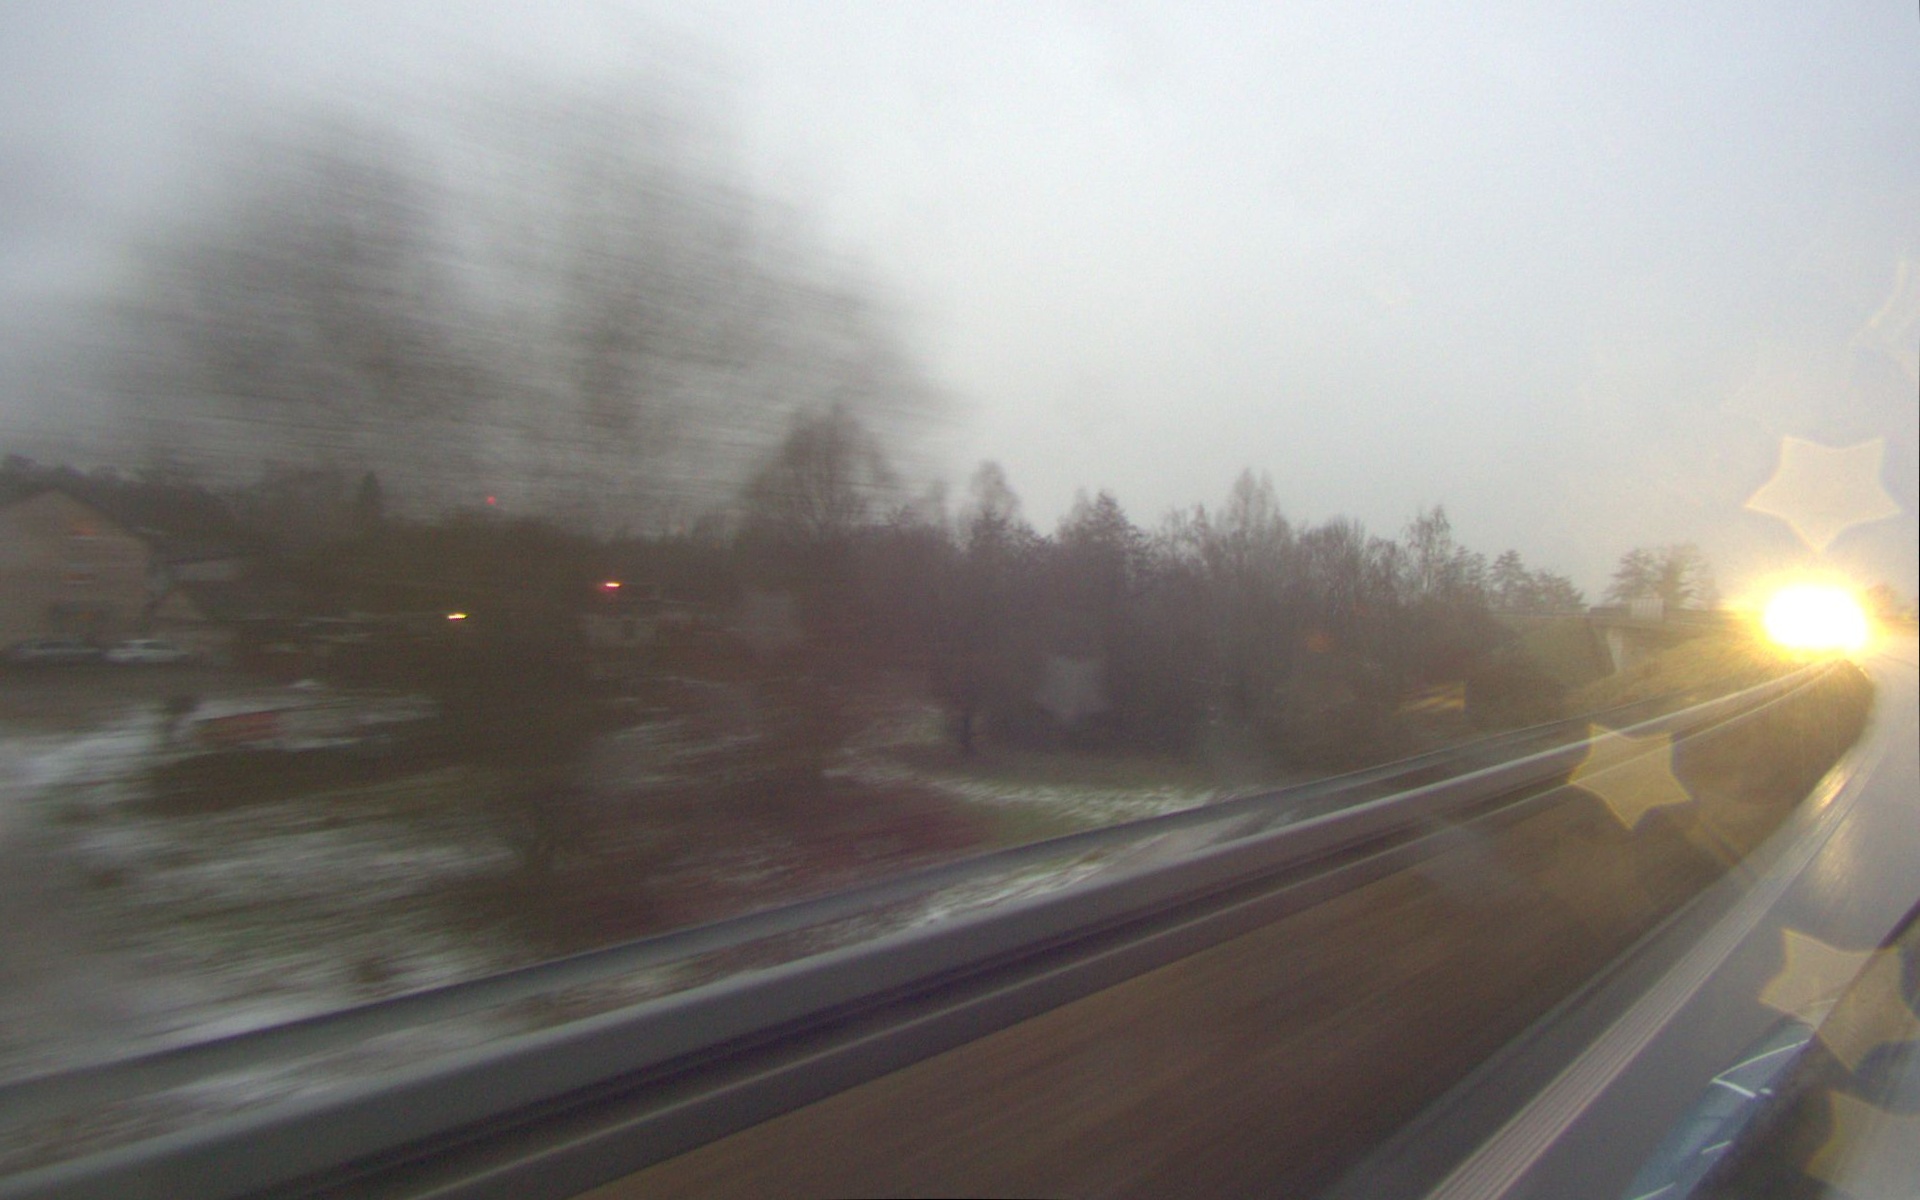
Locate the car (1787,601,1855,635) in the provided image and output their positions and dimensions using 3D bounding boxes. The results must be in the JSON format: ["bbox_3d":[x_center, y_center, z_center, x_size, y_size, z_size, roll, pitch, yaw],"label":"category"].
[{"bbox_3d":[45.991,0.946,54.169,2.090,1.594,4.741,4,1,33],"label":"car"}]
